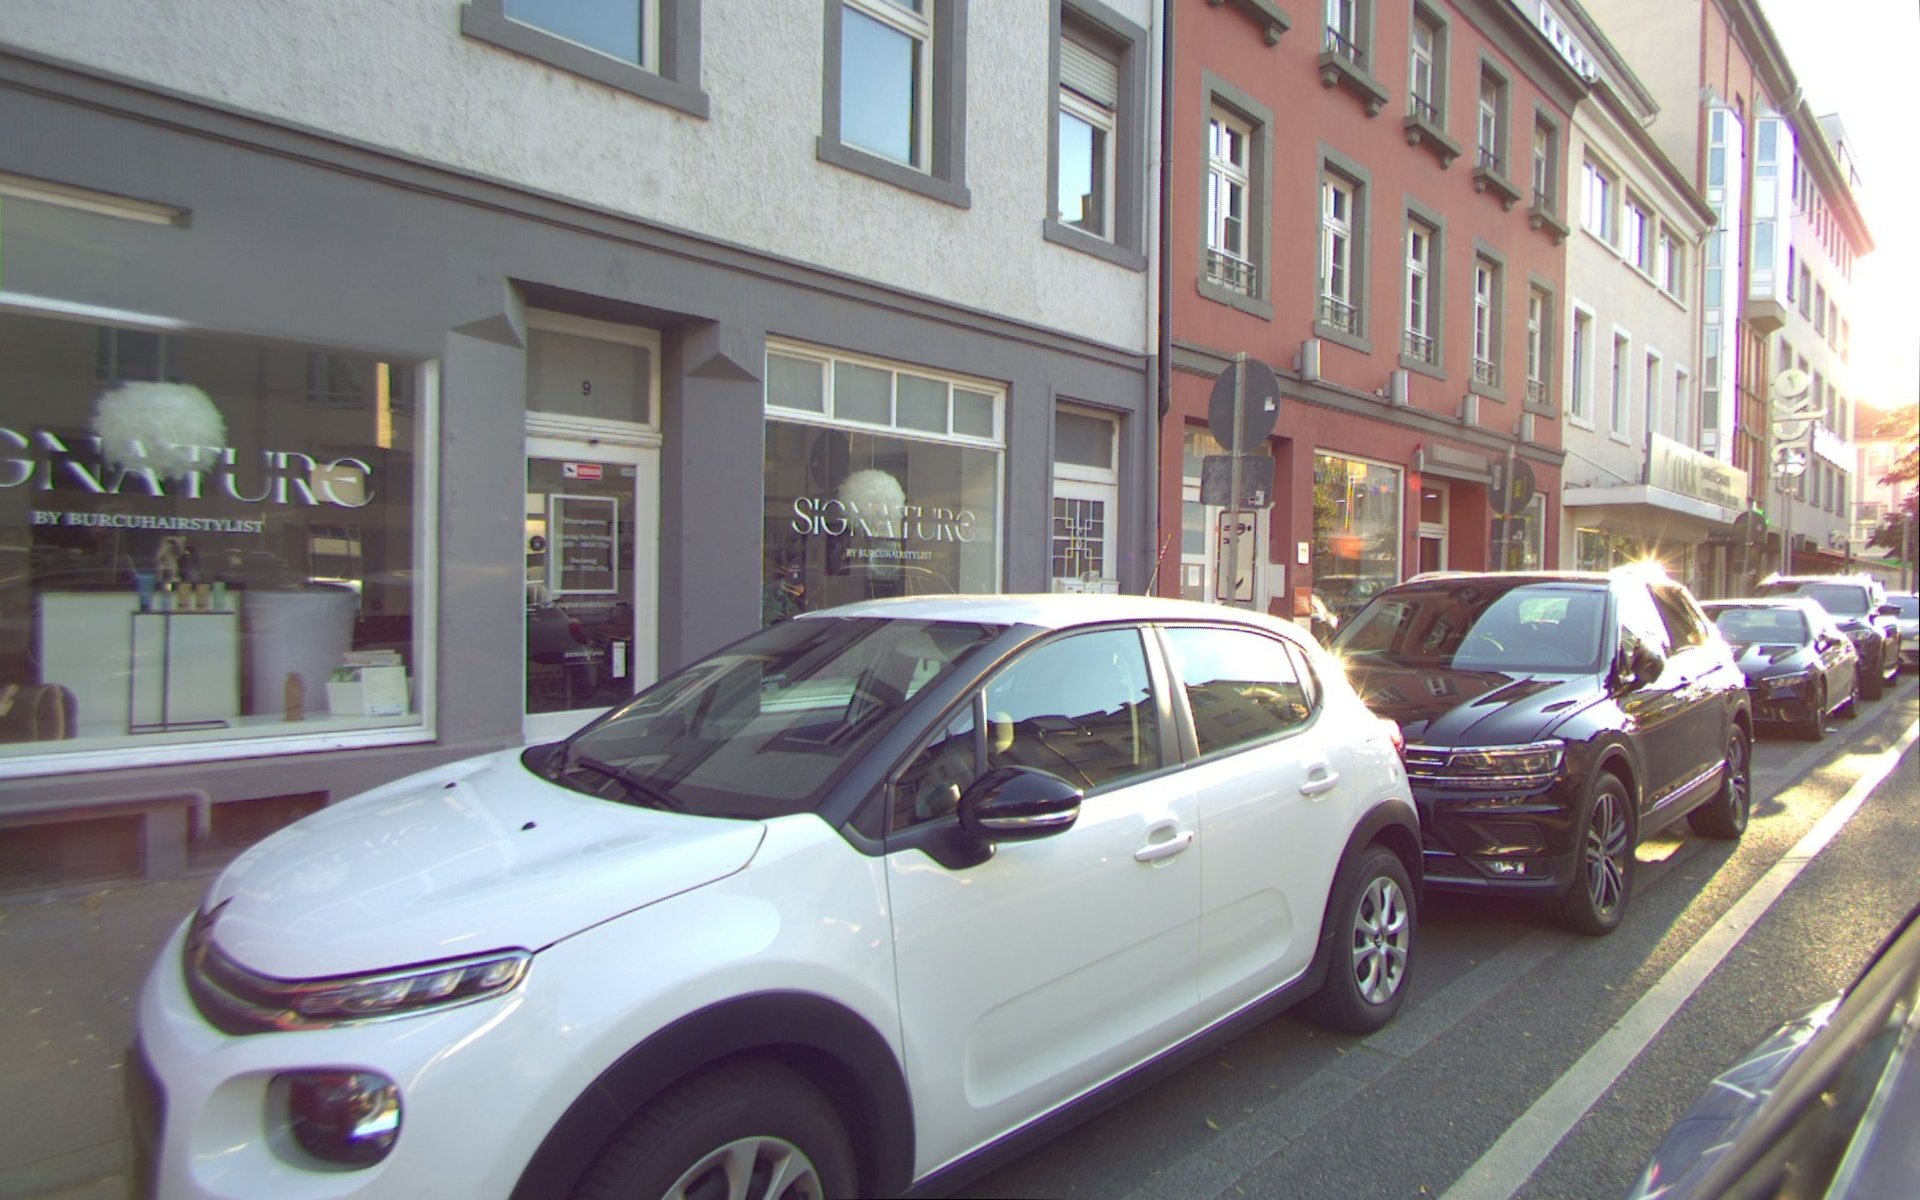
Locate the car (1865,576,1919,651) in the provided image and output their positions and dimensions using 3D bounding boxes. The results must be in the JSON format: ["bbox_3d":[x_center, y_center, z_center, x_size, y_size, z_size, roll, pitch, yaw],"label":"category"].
[{"bbox_3d":[23.325,0.285,24.260,4.404,1.675,1.996,-1,2,-43],"label":"car"}]

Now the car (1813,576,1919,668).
[{"bbox_3d":[18.817,0.360,20.288,4.548,1.676,1.997,-1,1,-41],"label":"car"}]

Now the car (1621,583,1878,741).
[{"bbox_3d":[9.341,0.585,11.833,4.336,1.507,1.686,-1,0,-43],"label":"car"}]

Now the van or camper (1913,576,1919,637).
[{"bbox_3d":[30.462,0.195,30.664,4.478,1.795,1.792,-1,2,-41],"label":"van or camper"}]

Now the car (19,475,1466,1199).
[{"bbox_3d":[-0.144,0.631,3.049,3.867,1.593,1.664,-1,1,-41],"label":"car"}]

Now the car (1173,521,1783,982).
[{"bbox_3d":[3.291,0.543,5.942,4.385,1.720,1.796,-1,0,-43],"label":"car"}]

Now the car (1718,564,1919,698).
[{"bbox_3d":[13.861,0.370,16.187,5.231,1.799,1.995,-1,1,-44],"label":"car"}]
